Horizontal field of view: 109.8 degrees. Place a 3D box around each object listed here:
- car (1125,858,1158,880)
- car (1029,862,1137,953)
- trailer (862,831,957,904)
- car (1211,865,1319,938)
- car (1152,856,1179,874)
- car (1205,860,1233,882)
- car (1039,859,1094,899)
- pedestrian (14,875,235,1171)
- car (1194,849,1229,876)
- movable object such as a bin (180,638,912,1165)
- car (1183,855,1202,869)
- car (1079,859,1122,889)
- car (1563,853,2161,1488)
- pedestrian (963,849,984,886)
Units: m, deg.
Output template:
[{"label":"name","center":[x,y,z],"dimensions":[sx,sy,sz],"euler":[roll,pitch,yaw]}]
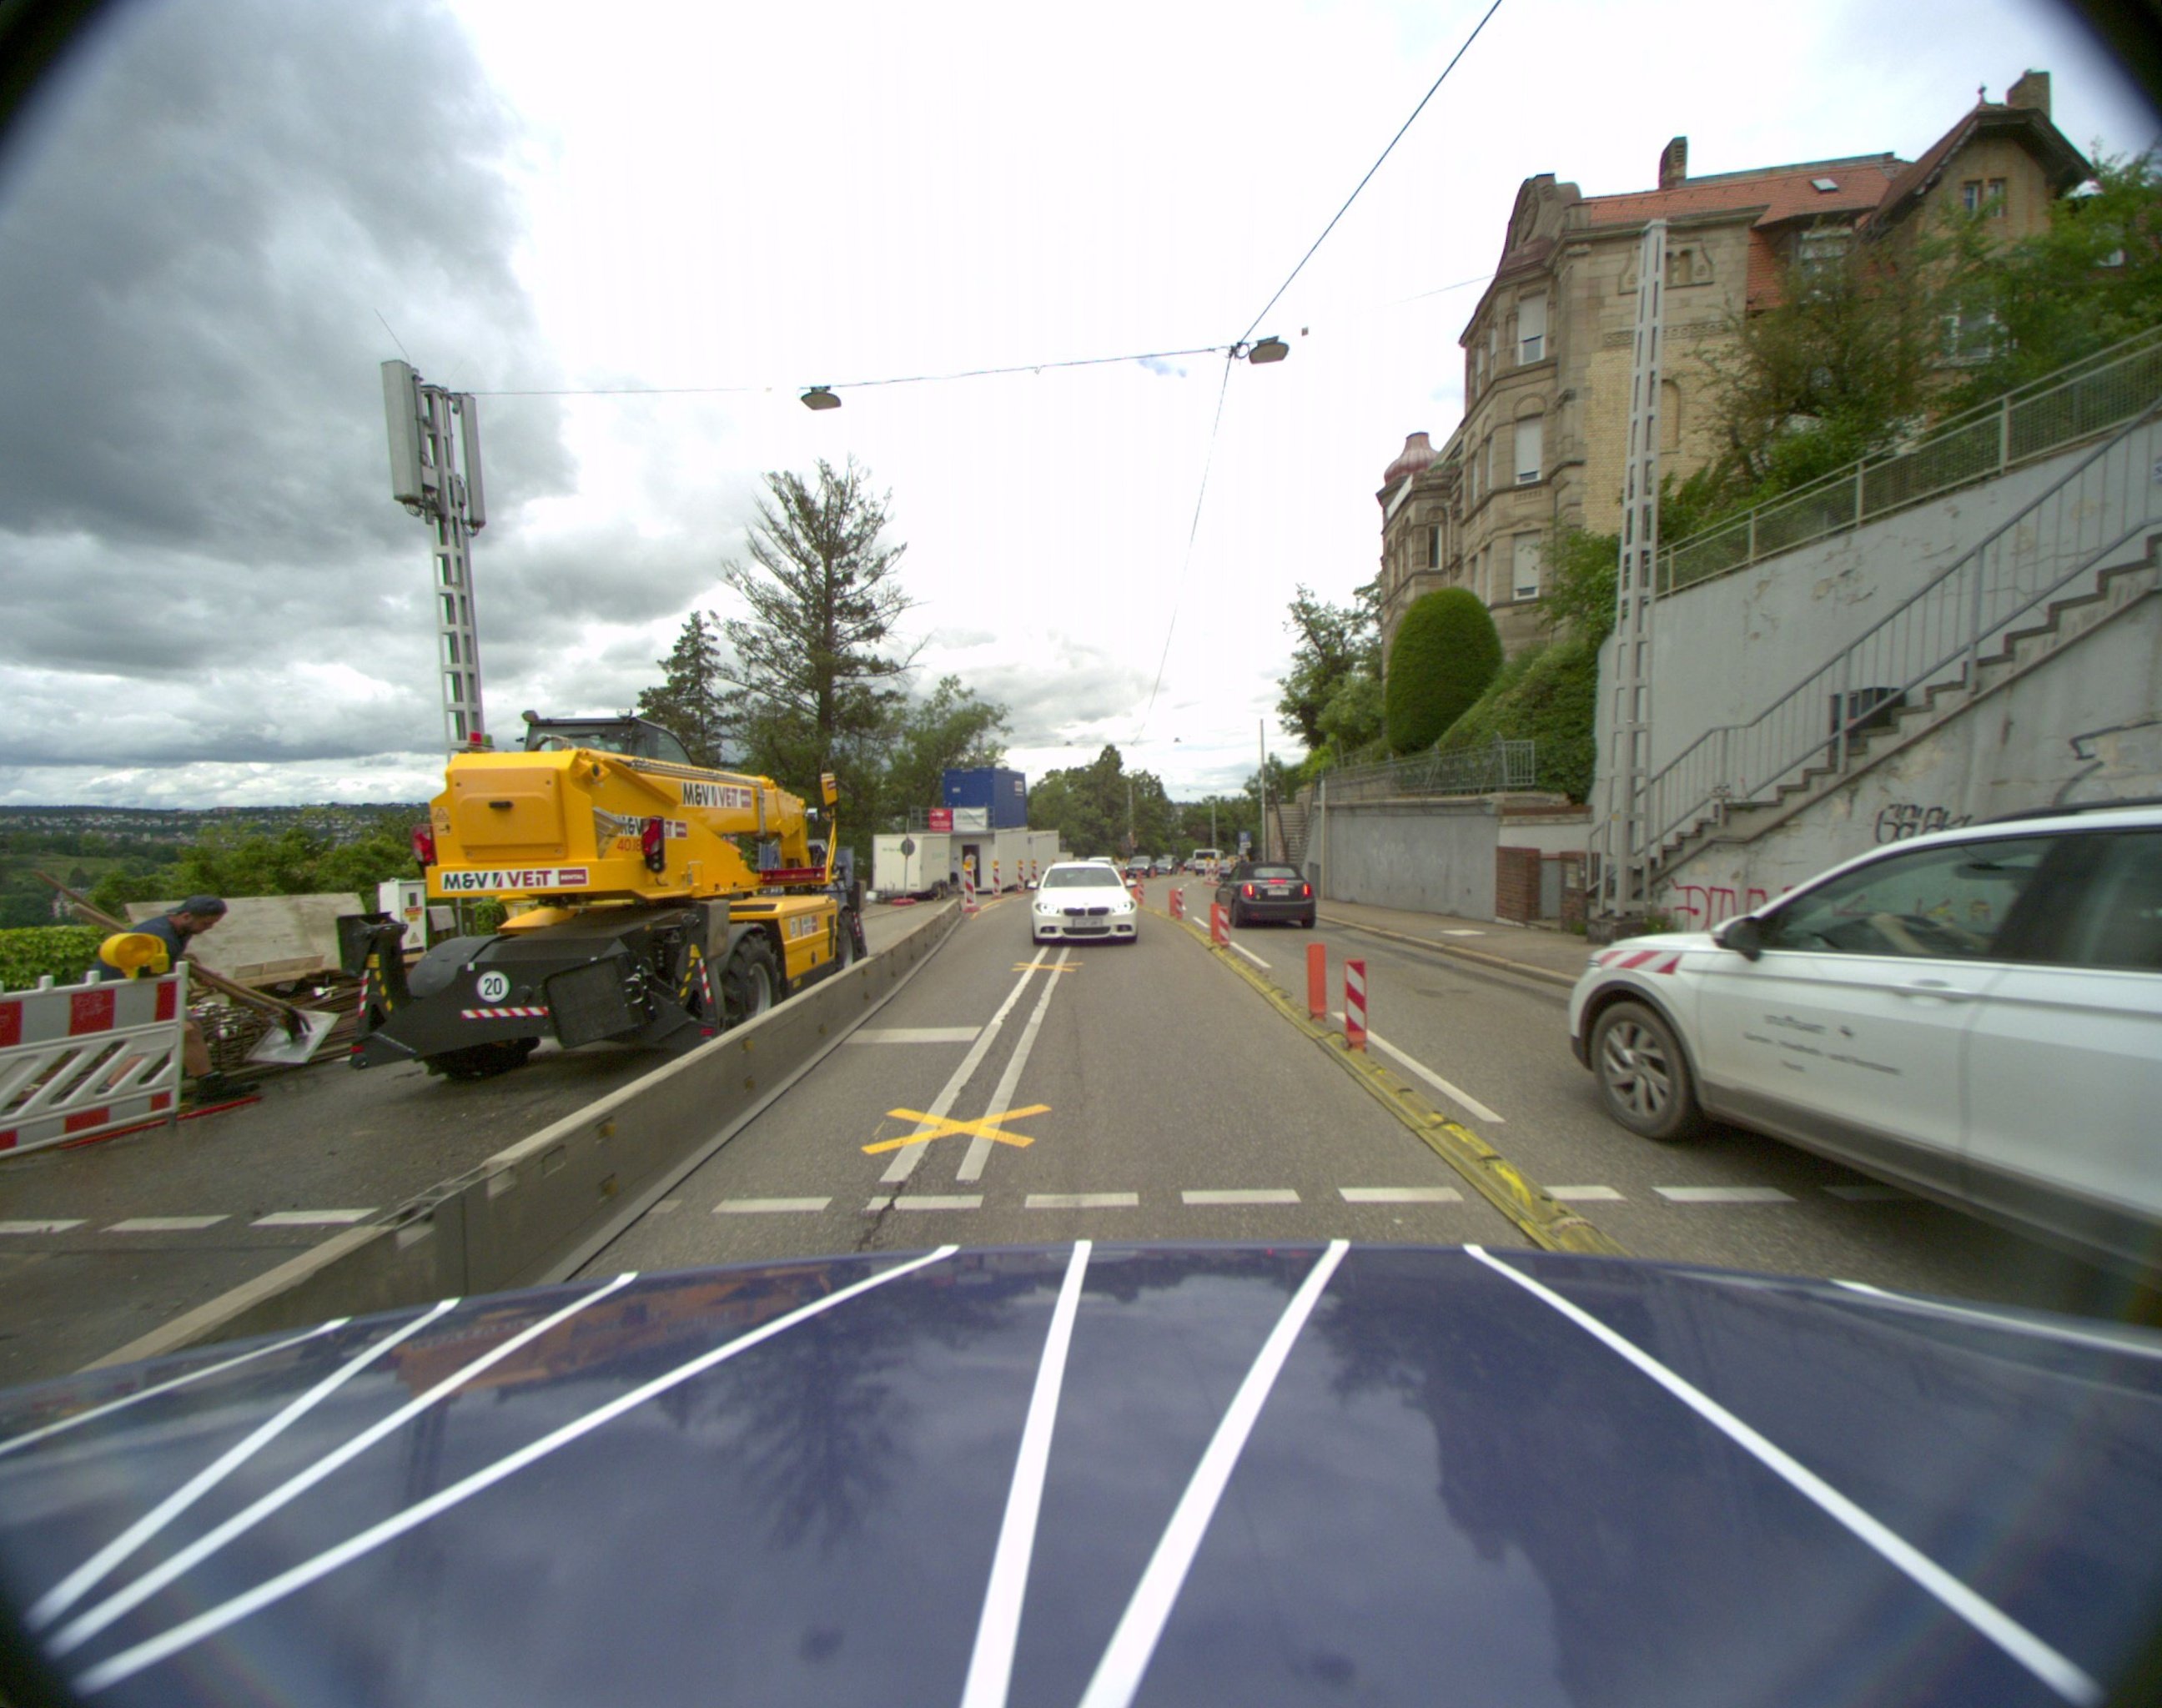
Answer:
[{"label":"car","center":[4.653,1.108,57.885],"dimensions":[1.796,1.501,4.004],"euler":[2,1,14]},{"label":"car","center":[0.186,0.926,14.801],"dimensions":[1.791,1.472,4.246],"euler":[0,0,4]},{"label":"trailer","center":[-6.420,0.467,29.134],"dimensions":[2.111,2.535,5.120],"euler":[1,0,5]},{"label":"car","center":[4.078,1.003,17.381],"dimensions":[1.675,1.422,3.588],"euler":[0,0,2]},{"label":"car","center":[7.709,0.936,69.203],"dimensions":[1.796,1.501,4.005],"euler":[2,1,16]},{"label":"car","center":[9.559,1.141,52.765],"dimensions":[1.802,1.365,4.391],"euler":[2,0,10]},{"label":"car","center":[-0.509,0.946,30.607],"dimensions":[1.791,1.472,4.246],"euler":[0,0,4]},{"label":"pedestrian","center":[-6.228,1.045,4.985],"dimensions":[0.691,1.784,0.539],"euler":[-1,0,-11]},{"label":"car","center":[11.332,0.745,65.660],"dimensions":[2.069,2.175,4.970],"euler":[1,0,20]},{"label":"movable object such as a bin","center":[-4.029,0.282,8.453],"dimensions":[2.819,3.053,7.821],"euler":[-2,0,-3]},{"label":"car","center":[12.537,0.871,85.141],"dimensions":[1.797,1.501,4.004],"euler":[2,1,13]},{"label":"car","center":[1.160,1.079,42.442],"dimensions":[1.790,1.542,4.248],"euler":[0,0,10]},{"label":"car","center":[3.688,0.812,2.277],"dimensions":[1.846,1.590,4.264],"euler":[-1,0,1]},{"label":"pedestrian","center":[-4.943,0.623,34.846],"dimensions":[0.651,1.651,0.648],"euler":[-3,0,-33]}]
